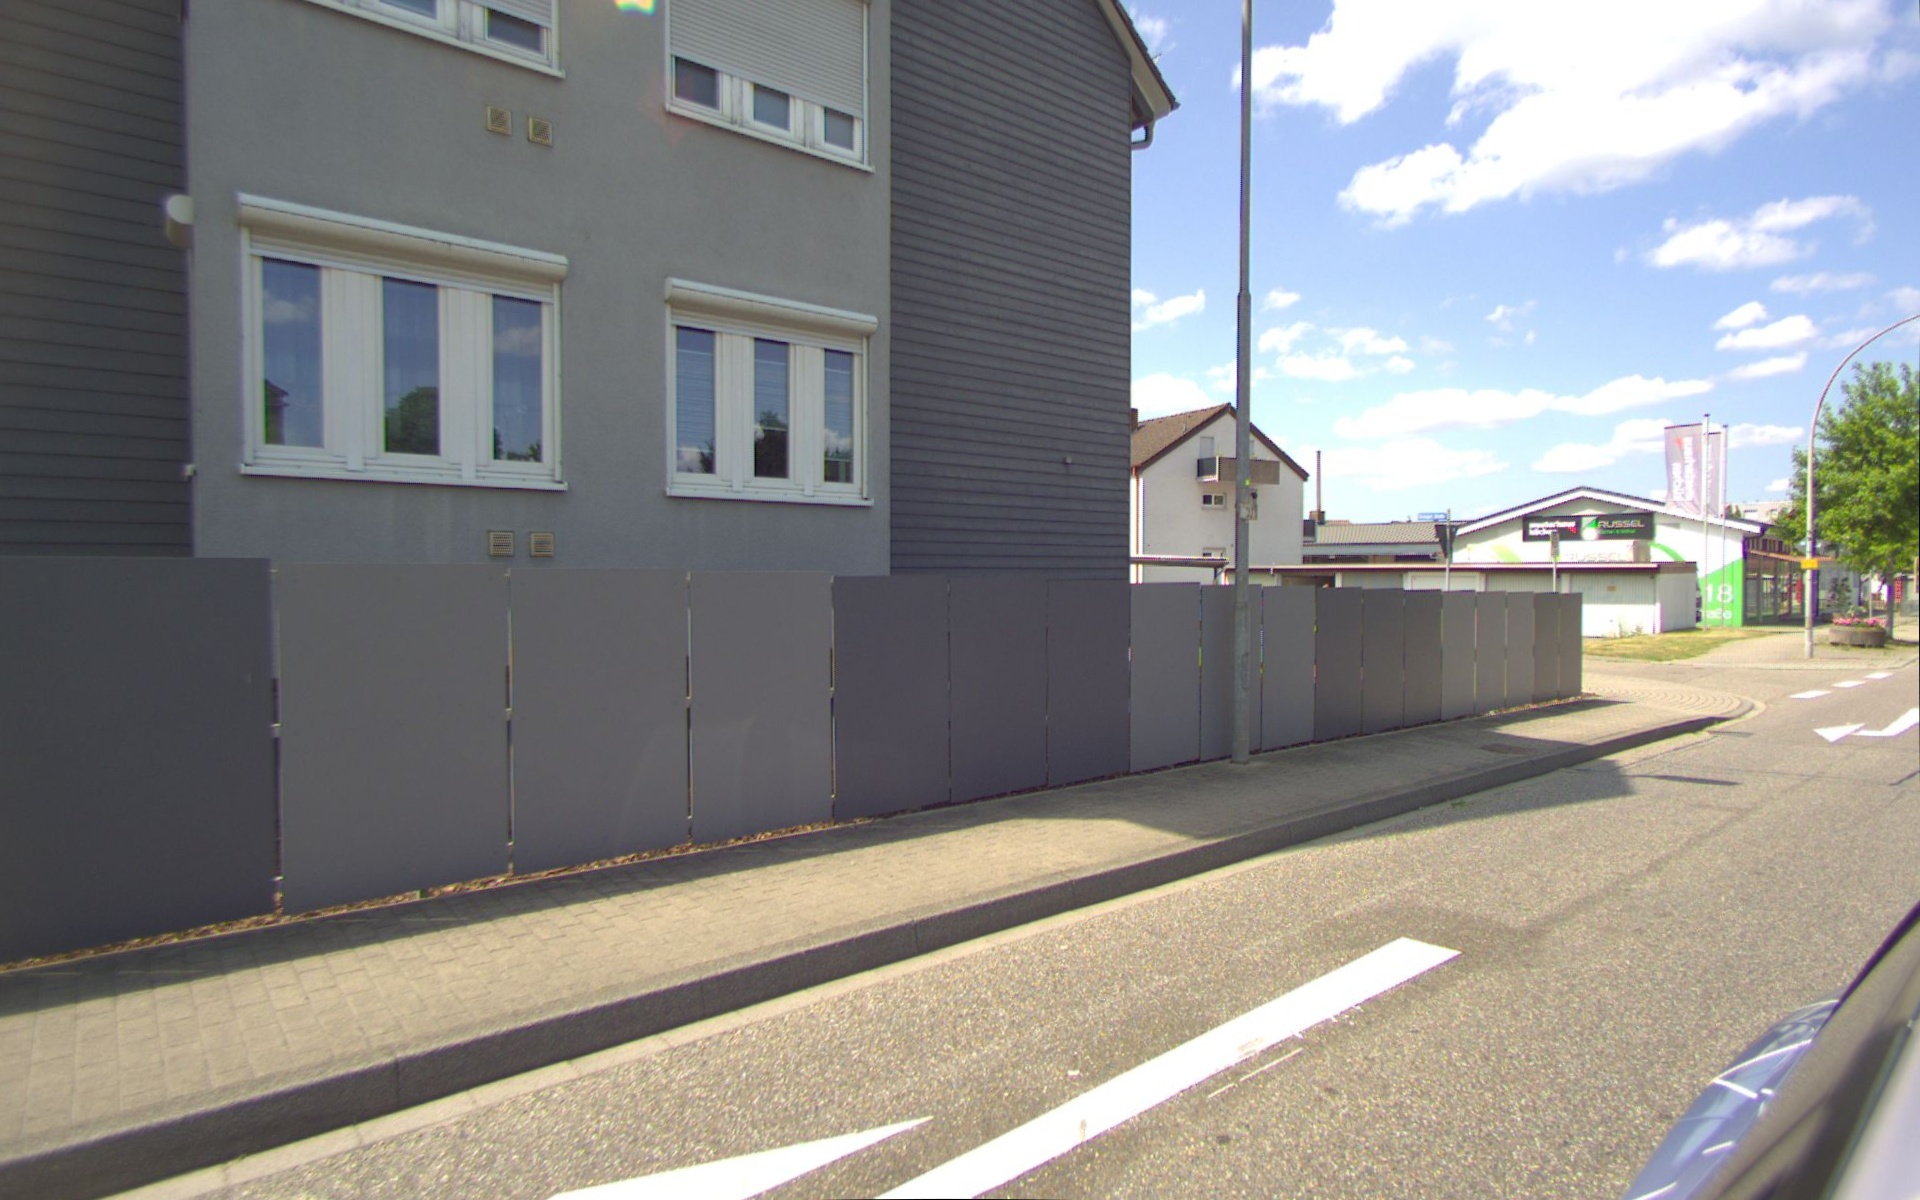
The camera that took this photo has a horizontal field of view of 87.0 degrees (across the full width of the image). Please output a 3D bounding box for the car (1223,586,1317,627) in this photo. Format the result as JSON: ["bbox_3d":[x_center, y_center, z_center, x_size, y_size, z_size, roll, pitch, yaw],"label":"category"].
[{"bbox_3d":[12.291,0.210,39.993,4.060,1.522,1.678,-1,1,-41],"label":"car"}]

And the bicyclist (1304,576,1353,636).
[{"bbox_3d":[10.519,0.161,28.904,0.792,1.650,1.109,0,0,-43],"label":"bicyclist"}]

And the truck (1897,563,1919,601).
[{"bbox_3d":[72.534,-1.362,76.254,2.571,2.795,6.240,3,3,41],"label":"truck"}]

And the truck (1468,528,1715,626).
[{"bbox_3d":[25.481,-0.923,41.244,2.633,3.617,8.180,-2,2,-42],"label":"truck"}]

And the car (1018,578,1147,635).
[{"bbox_3d":[3.755,0.220,30.728,3.784,1.607,1.741,2,0,-40],"label":"car"}]

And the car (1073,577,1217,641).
[{"bbox_3d":[5.300,0.277,28.785,4.139,1.669,1.741,2,0,-40],"label":"car"}]
